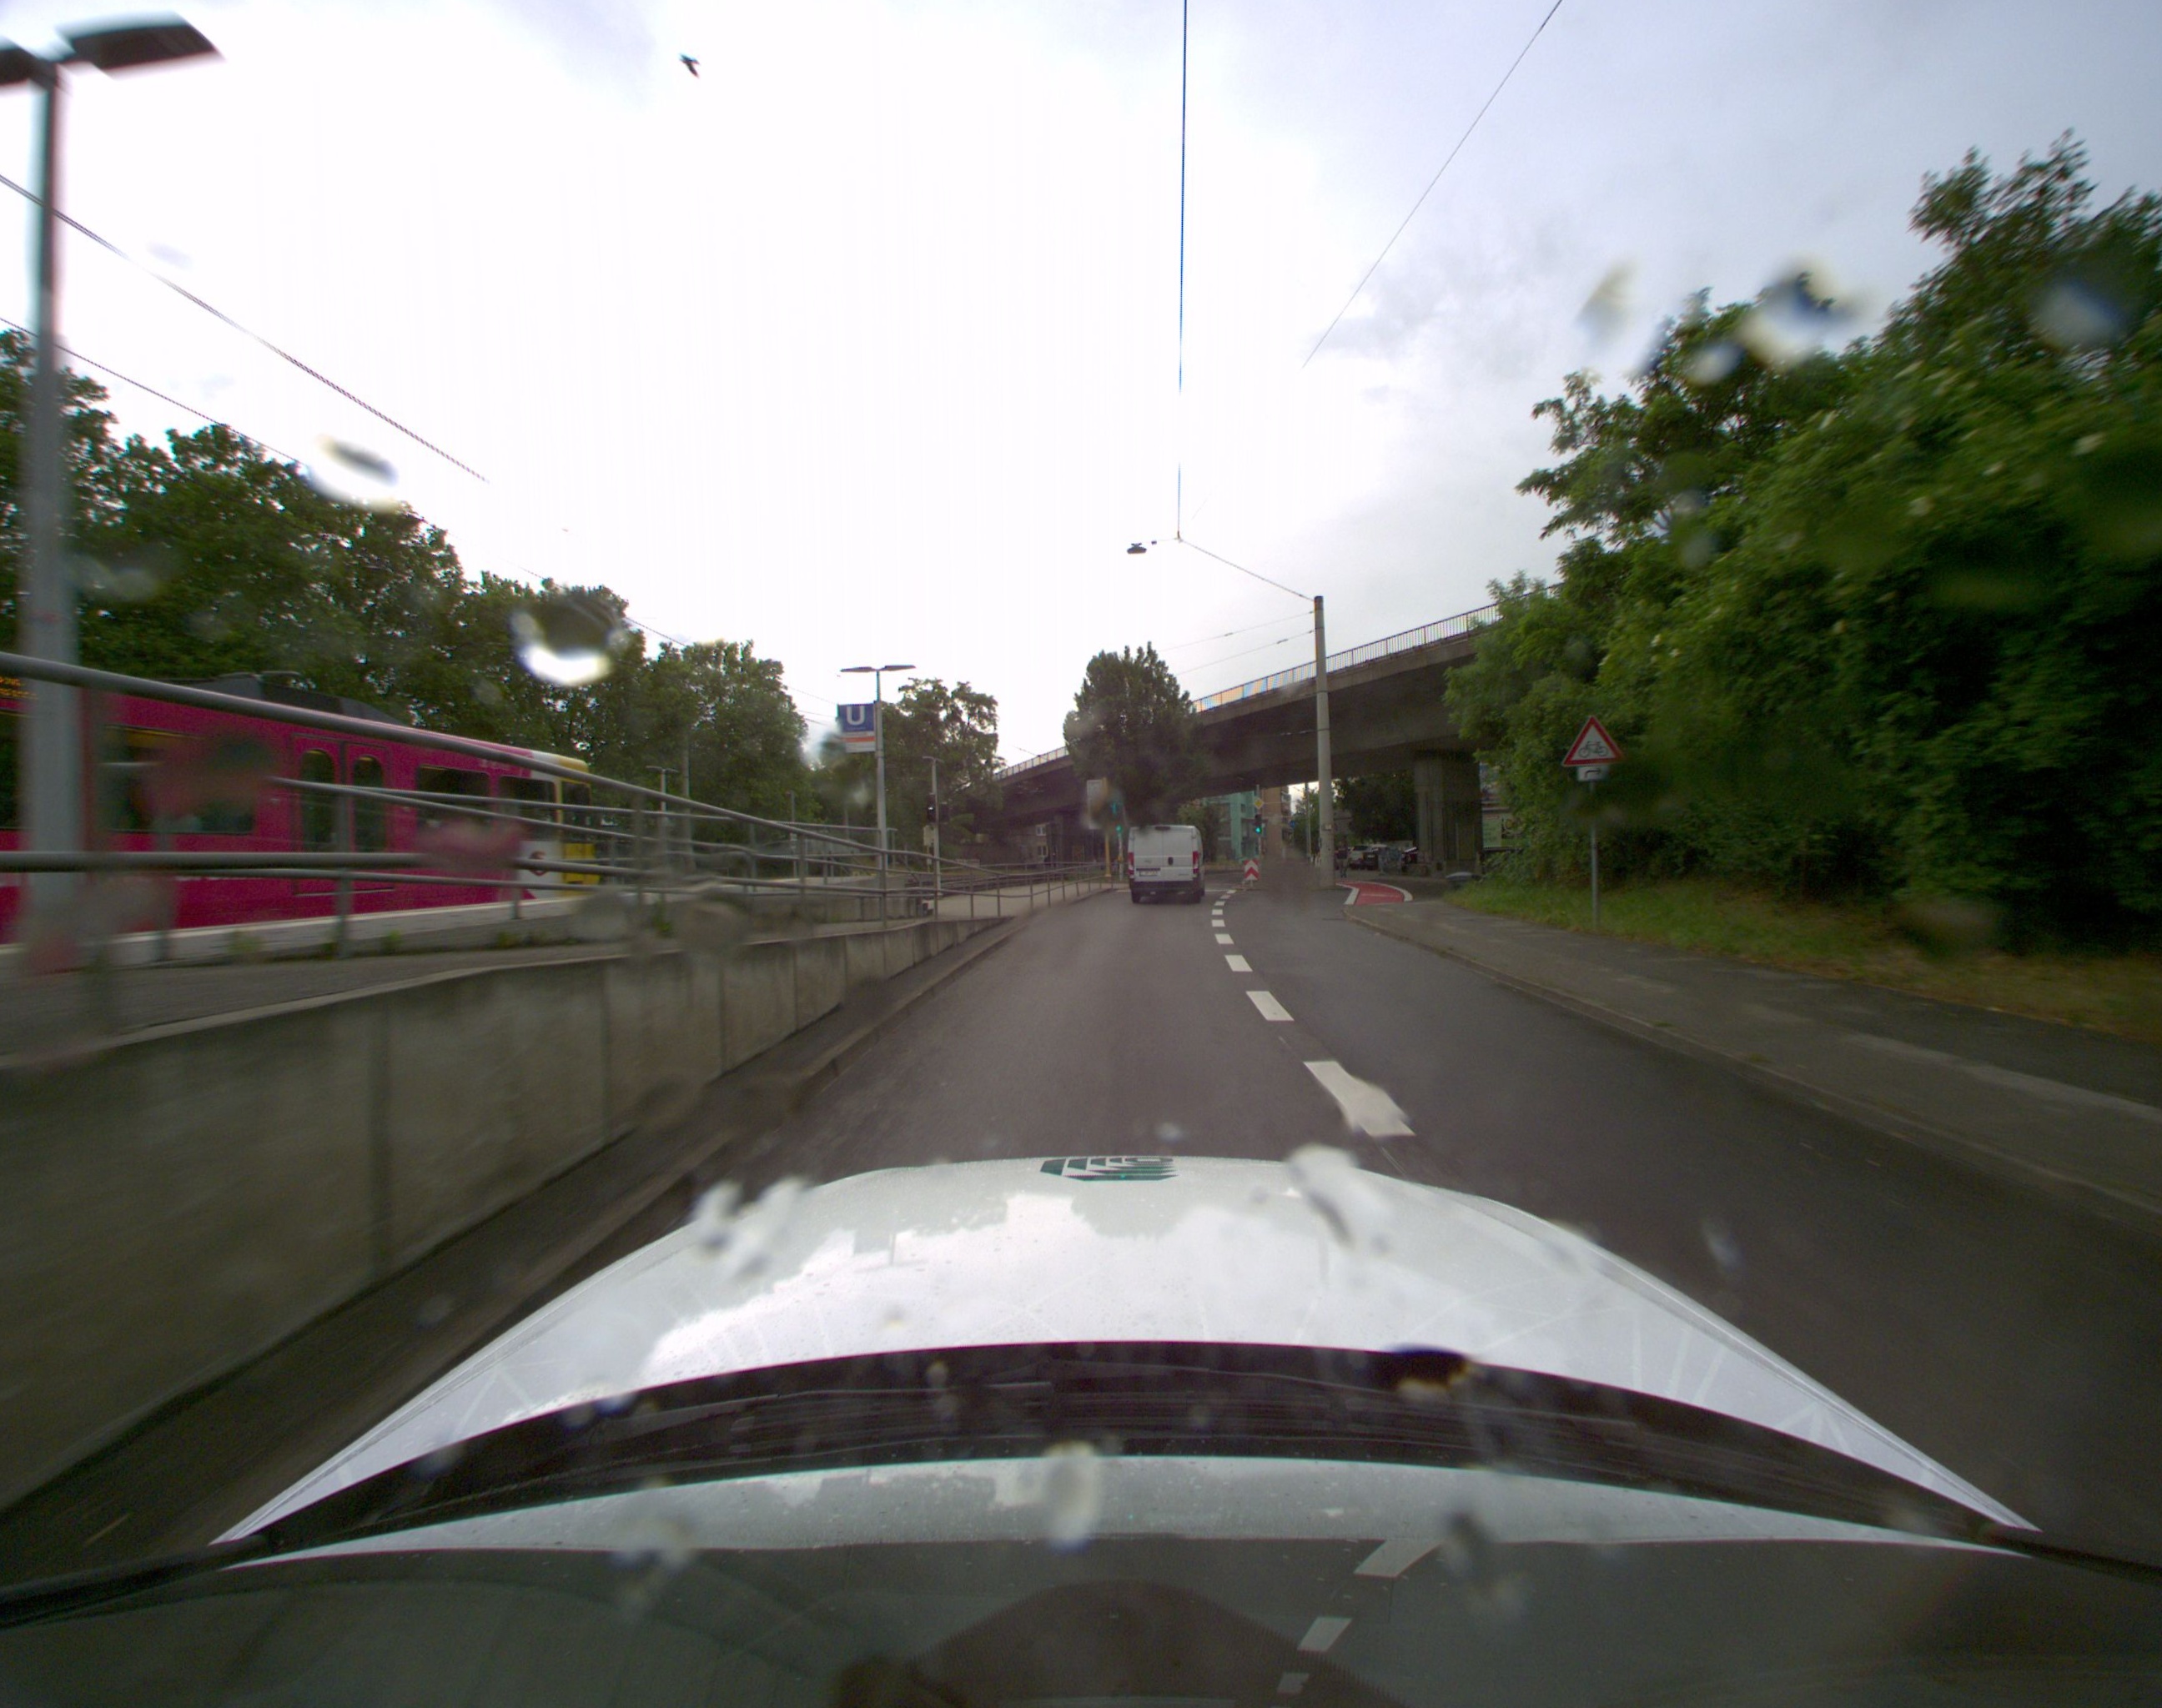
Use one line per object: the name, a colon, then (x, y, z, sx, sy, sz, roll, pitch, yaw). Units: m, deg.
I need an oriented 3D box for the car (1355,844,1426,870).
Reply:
car: (18.373, 0.167, 48.320, 4.061, 1.439, 1.770, 0, 0, -29)

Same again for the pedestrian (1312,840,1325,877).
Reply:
pedestrian: (11.817, 0.207, 40.541, 0.621, 1.808, 0.839, 1, -1, 15)

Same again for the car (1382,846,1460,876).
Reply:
car: (19.048, 0.413, 45.579, 4.008, 1.572, 1.889, 1, -1, -27)

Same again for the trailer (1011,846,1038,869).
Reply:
trailer: (-6.902, 0.468, 99.588, 2.003, 2.725, 4.089, 0, -1, -25)

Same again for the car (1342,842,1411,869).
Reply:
car: (18.716, 0.077, 51.541, 4.035, 1.631, 1.949, 0, -1, -29)

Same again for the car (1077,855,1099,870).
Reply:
car: (0.802, 1.046, 98.851, 1.719, 1.667, 3.178, 1, 1, -19)

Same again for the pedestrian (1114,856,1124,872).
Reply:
pedestrian: (3.898, 1.023, 83.004, 0.687, 1.670, 0.893, -1, -1, 35)

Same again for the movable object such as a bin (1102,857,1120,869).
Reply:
movable object such as a bin: (3.613, 1.080, 98.297, 1.563, 1.479, 1.789, 0, 0, -23)

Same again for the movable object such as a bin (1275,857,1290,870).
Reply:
movable object such as a bin: (34.350, 1.673, 138.910, 2.114, 2.157, 1.812, 1, 0, 24)

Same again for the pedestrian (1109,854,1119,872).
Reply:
pedestrian: (3.388, 0.942, 83.803, 0.687, 1.831, 0.872, -1, -1, 33)

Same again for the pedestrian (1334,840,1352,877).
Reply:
pedestrian: (12.985, 0.233, 40.389, 0.595, 1.822, 0.909, 1, -1, -2)

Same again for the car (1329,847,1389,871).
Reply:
car: (18.494, 0.309, 54.156, 3.746, 1.522, 1.786, 0, -1, -29)

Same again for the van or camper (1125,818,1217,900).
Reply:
van or camper: (2.873, 0.168, 25.029, 2.183, 2.253, 4.701, 1, -1, 14)

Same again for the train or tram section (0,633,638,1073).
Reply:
train or tram section: (-11.147, -0.015, 7.905, 2.858, 3.961, 19.329, 1, -1, 1)
